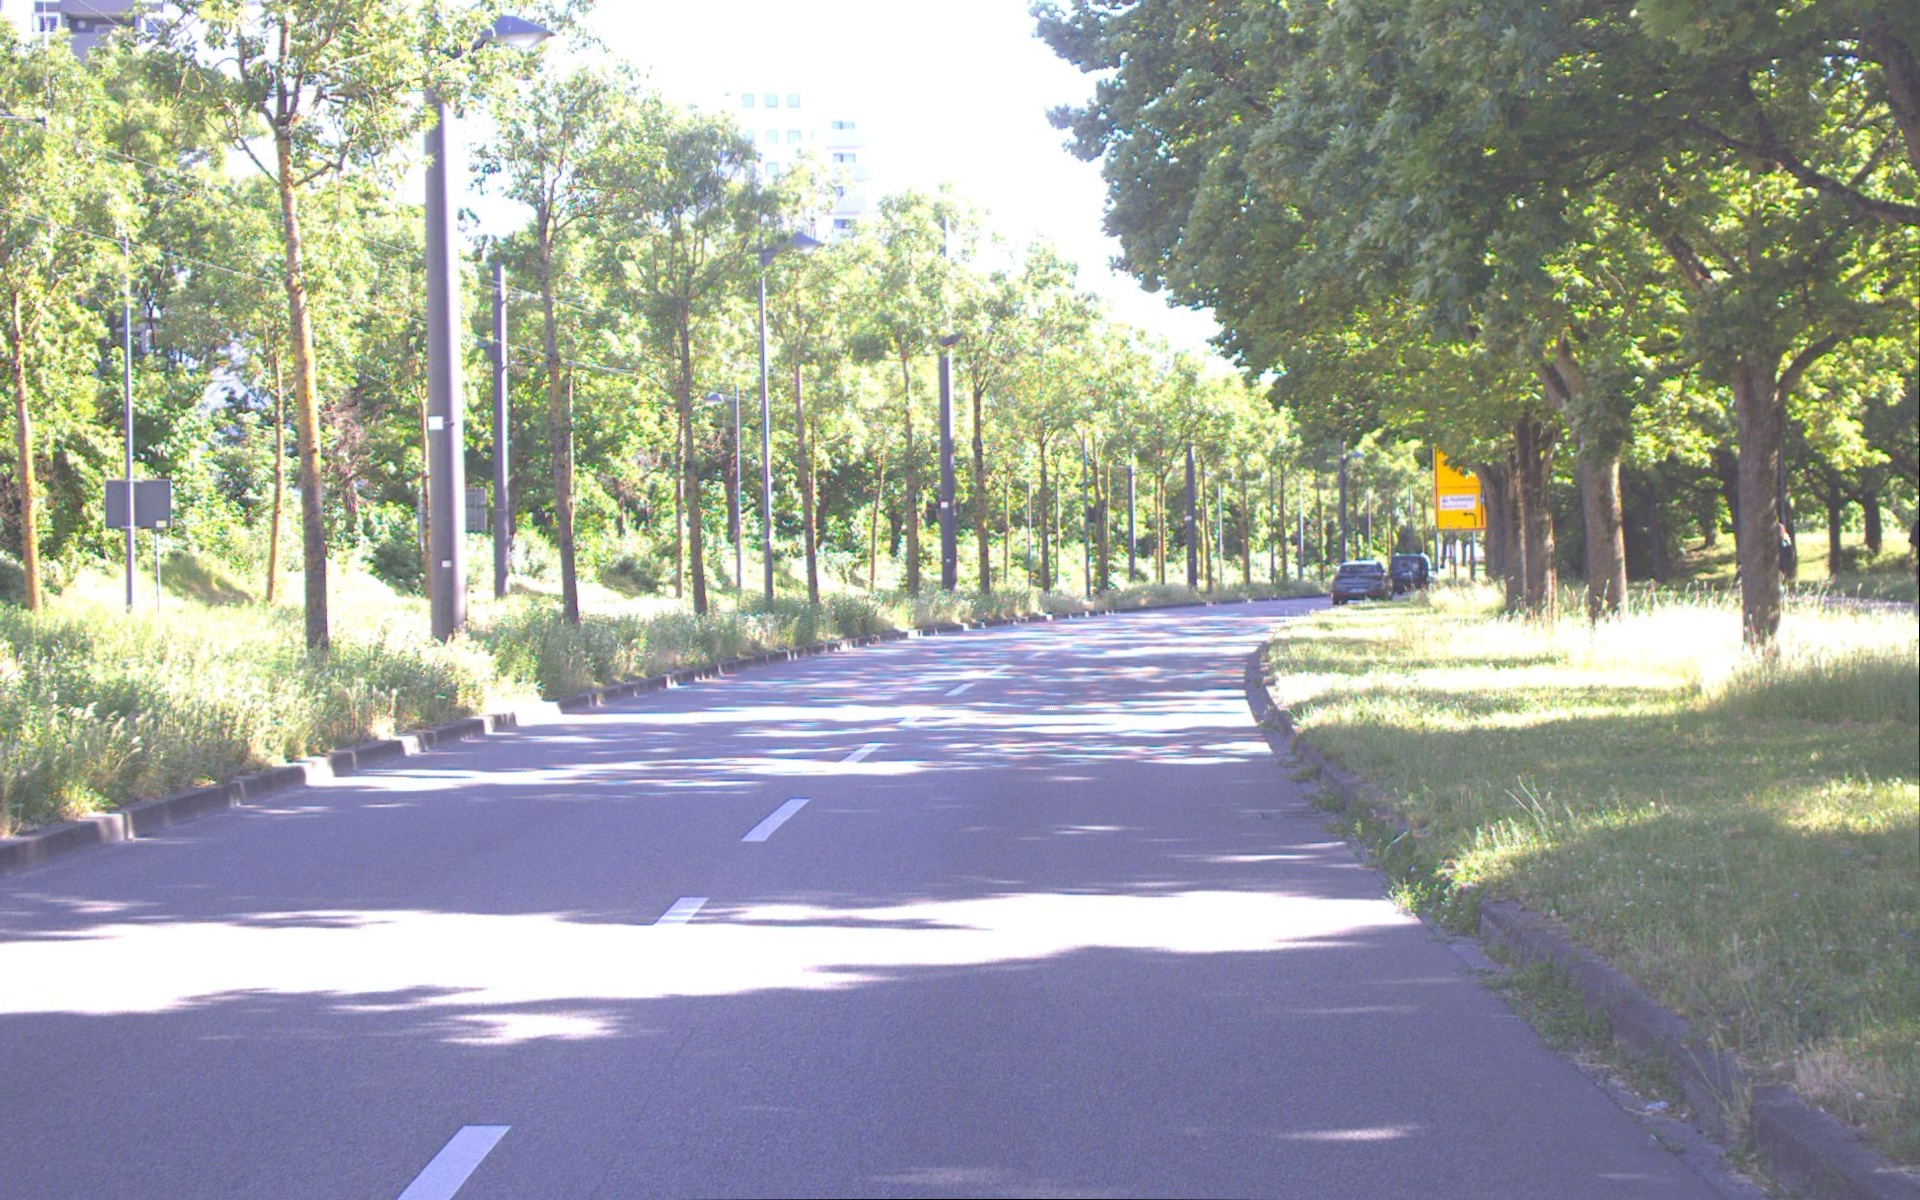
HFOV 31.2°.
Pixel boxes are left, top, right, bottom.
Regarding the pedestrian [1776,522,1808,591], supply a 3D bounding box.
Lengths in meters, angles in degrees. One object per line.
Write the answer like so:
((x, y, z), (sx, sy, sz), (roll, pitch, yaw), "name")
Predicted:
((20.623, -1.081, 85.187), (0.637, 1.686, 0.843), (-1, 0, 21), "pedestrian")

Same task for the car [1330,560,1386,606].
((13.317, -0.579, 114.851), (1.635, 1.493, 4.233), (0, 1, 9), "car")

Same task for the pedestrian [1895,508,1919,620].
((15.543, -0.590, 55.595), (0.716, 1.797, 0.794), (-1, 0, 8), "pedestrian")

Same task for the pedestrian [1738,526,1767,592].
((19.702, -1.026, 85.479), (0.547, 1.616, 0.843), (-1, 0, 21), "pedestrian")

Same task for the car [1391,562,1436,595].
((20.701, -0.994, 156.777), (1.635, 1.493, 4.232), (0, 1, 13), "car")
